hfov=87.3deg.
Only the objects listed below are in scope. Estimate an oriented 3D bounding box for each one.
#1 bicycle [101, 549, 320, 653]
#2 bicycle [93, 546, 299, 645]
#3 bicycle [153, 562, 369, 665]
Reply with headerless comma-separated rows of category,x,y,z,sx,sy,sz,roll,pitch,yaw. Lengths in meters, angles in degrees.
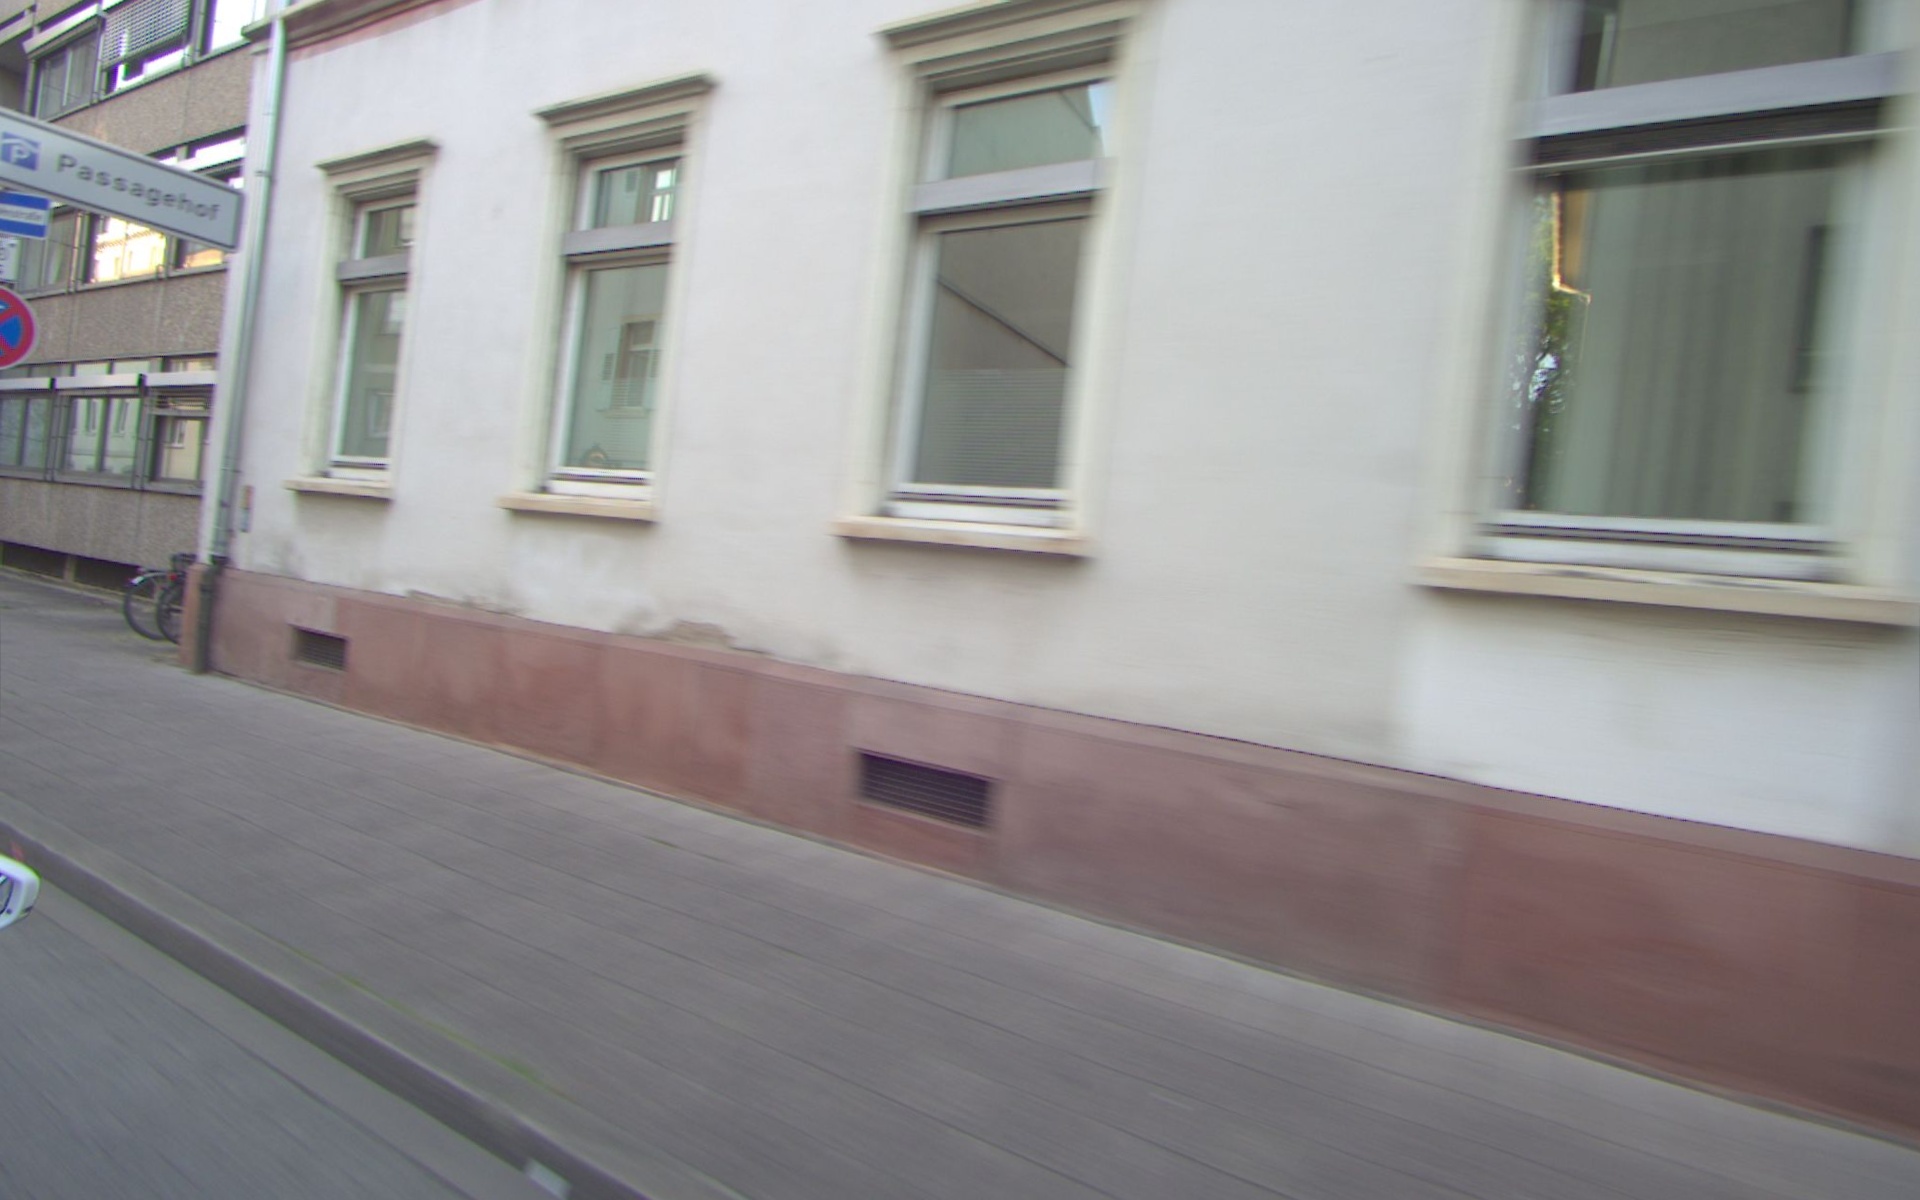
bicycle,-8.002,0.046,10.840,0.528,0.934,1.801,7,-1,23
bicycle,-8.594,-0.014,11.409,0.528,0.934,1.745,7,-1,24
bicycle,-7.291,0.180,10.600,0.507,0.934,1.801,7,-1,23
